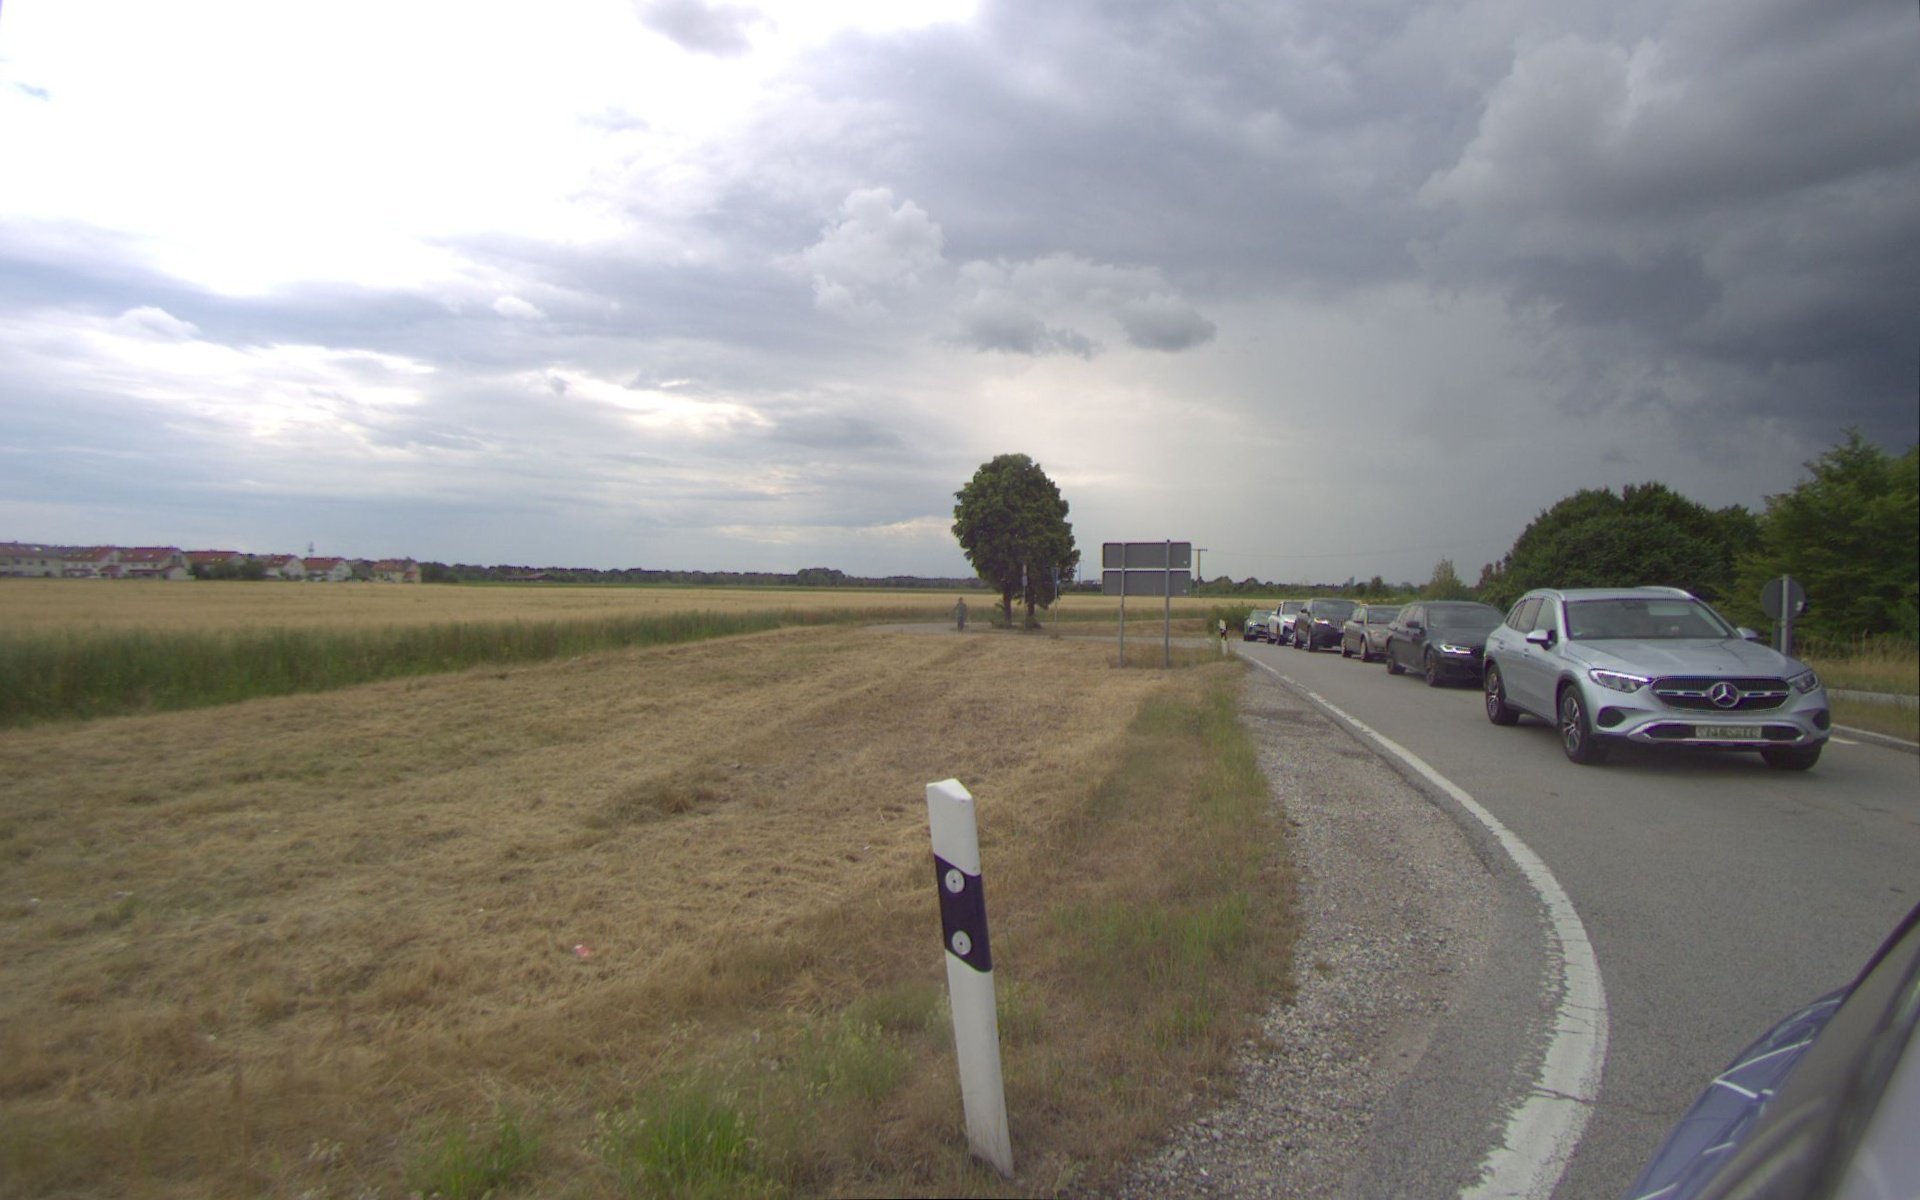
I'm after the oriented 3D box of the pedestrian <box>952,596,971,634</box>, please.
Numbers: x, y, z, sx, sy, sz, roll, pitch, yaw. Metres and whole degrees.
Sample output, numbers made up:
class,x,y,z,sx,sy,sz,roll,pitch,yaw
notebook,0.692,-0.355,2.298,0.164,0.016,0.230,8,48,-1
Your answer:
class,x,y,z,sx,sy,sz,roll,pitch,yaw
pedestrian,0.063,0.665,45.519,0.758,1.631,0.946,1,0,-7

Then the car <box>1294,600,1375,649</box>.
class,x,y,z,sx,sy,sz,roll,pitch,yaw
car,11.696,0.729,31.843,1.695,1.370,4.200,-1,0,11

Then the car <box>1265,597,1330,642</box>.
class,x,y,z,sx,sy,sz,roll,pitch,yaw
car,12.698,0.686,38.333,1.695,1.513,4.623,-1,0,11

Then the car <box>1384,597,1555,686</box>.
class,x,y,z,sx,sy,sz,roll,pitch,yaw
car,9.140,0.673,18.563,1.696,1.370,4.676,-1,0,13

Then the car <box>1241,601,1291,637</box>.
class,x,y,z,sx,sy,sz,roll,pitch,yaw
car,14.028,0.841,46.559,1.695,1.513,4.200,-1,0,11

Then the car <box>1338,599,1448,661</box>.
class,x,y,z,sx,sy,sz,roll,pitch,yaw
car,10.951,0.698,25.870,1.695,1.370,4.200,1,1,11

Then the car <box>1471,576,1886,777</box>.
class,x,y,z,sx,sy,sz,roll,pitch,yaw
car,6.948,0.608,10.479,1.967,1.606,4.376,-1,0,14
